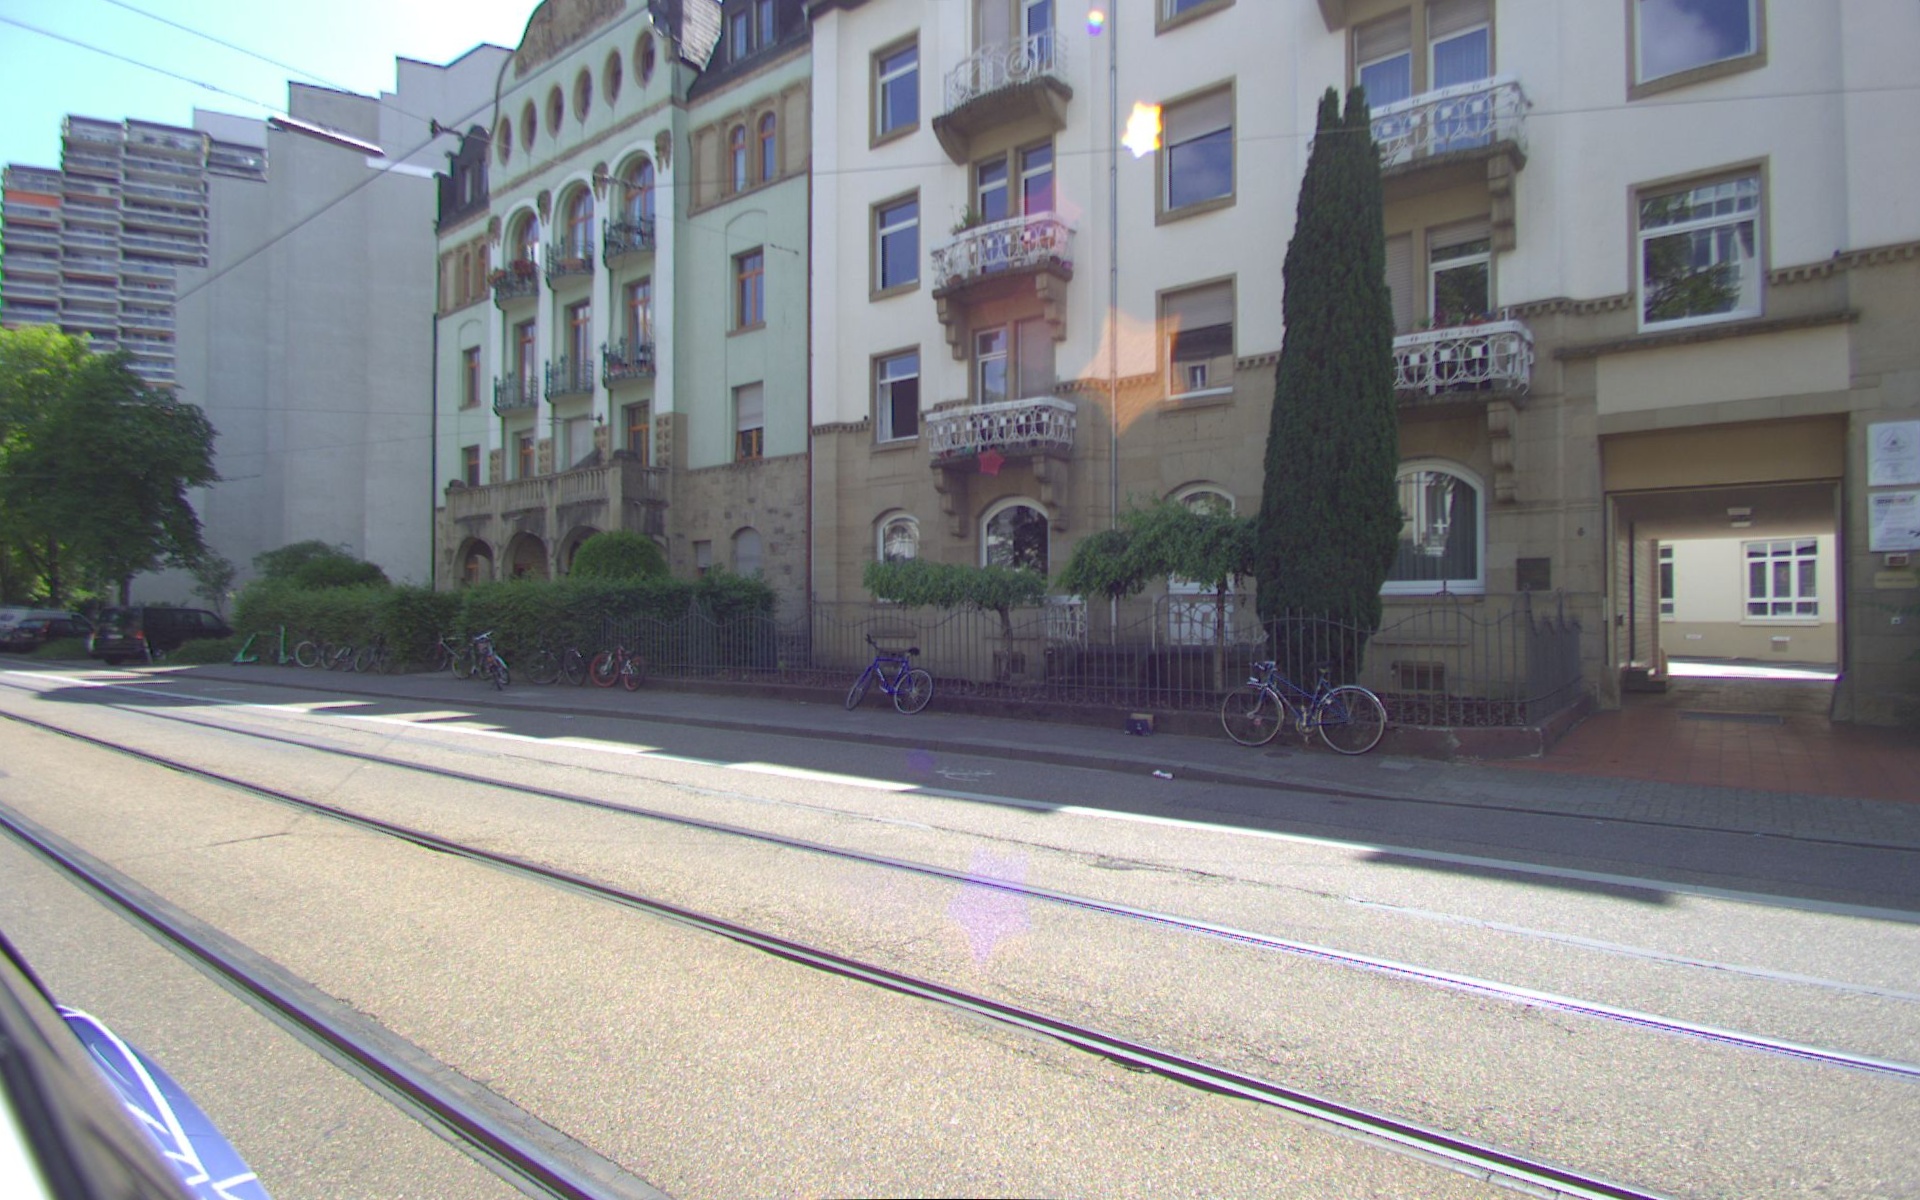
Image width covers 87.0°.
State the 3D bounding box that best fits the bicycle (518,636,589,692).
[{"bbox_3d":[-7.890,1.230,19.626,1.705,1.006,0.460,-1,2,38],"label":"bicycle"}]

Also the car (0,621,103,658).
[{"bbox_3d":[-40.726,1.751,45.355,1.657,1.587,3.688,1,-1,-5],"label":"car"}]

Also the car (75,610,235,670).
[{"bbox_3d":[-28.056,1.364,35.515,1.935,1.940,4.585,0,-1,1],"label":"car"}]

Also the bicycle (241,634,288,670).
[{"bbox_3d":[-20.359,1.513,29.603,1.705,0.996,0.602,-2,2,38],"label":"bicycle"}]

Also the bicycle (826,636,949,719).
[{"bbox_3d":[-1.060,1.073,14.483,1.769,1.072,0.602,-2,2,38],"label":"bicycle"}]

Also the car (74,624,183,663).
[{"bbox_3d":[-32.803,1.695,40.059,1.699,1.465,3.633,0,-1,-8],"label":"car"}]

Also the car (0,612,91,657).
[{"bbox_3d":[-43.364,1.606,47.646,1.579,2.058,4.055,0,-1,-3],"label":"car"}]

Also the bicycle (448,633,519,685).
[{"bbox_3d":[-10.254,1.244,21.739,1.769,1.040,0.602,-2,2,38],"label":"bicycle"}]

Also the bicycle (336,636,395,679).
[{"bbox_3d":[-14.715,1.396,25.033,1.769,0.983,0.602,-2,2,38],"label":"bicycle"}]

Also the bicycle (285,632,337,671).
[{"bbox_3d":[-17.663,1.390,27.521,1.705,0.996,0.602,-2,2,38],"label":"bicycle"}]

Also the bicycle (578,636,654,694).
[{"bbox_3d":[-6.343,1.177,18.620,1.723,0.973,0.409,-1,2,38],"label":"bicycle"}]

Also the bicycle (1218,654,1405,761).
[{"bbox_3d":[3.695,1.102,10.733,1.839,0.968,0.406,0,2,38],"label":"bicycle"}]

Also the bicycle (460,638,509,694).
[{"bbox_3d":[-9.151,1.247,19.526,0.599,1.007,1.780,0,-1,-17],"label":"bicycle"}]

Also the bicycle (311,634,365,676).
[{"bbox_3d":[-16.174,1.412,26.295,1.705,0.996,0.602,-2,2,38],"label":"bicycle"}]

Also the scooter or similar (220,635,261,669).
[{"bbox_3d":[-21.798,1.565,30.655,1.216,1.028,0.404,-1,-2,23],"label":"scooter or similar"}]

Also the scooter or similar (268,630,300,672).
[{"bbox_3d":[-19.121,1.430,28.622,1.290,1.128,0.401,-1,-1,40],"label":"scooter or similar"}]
